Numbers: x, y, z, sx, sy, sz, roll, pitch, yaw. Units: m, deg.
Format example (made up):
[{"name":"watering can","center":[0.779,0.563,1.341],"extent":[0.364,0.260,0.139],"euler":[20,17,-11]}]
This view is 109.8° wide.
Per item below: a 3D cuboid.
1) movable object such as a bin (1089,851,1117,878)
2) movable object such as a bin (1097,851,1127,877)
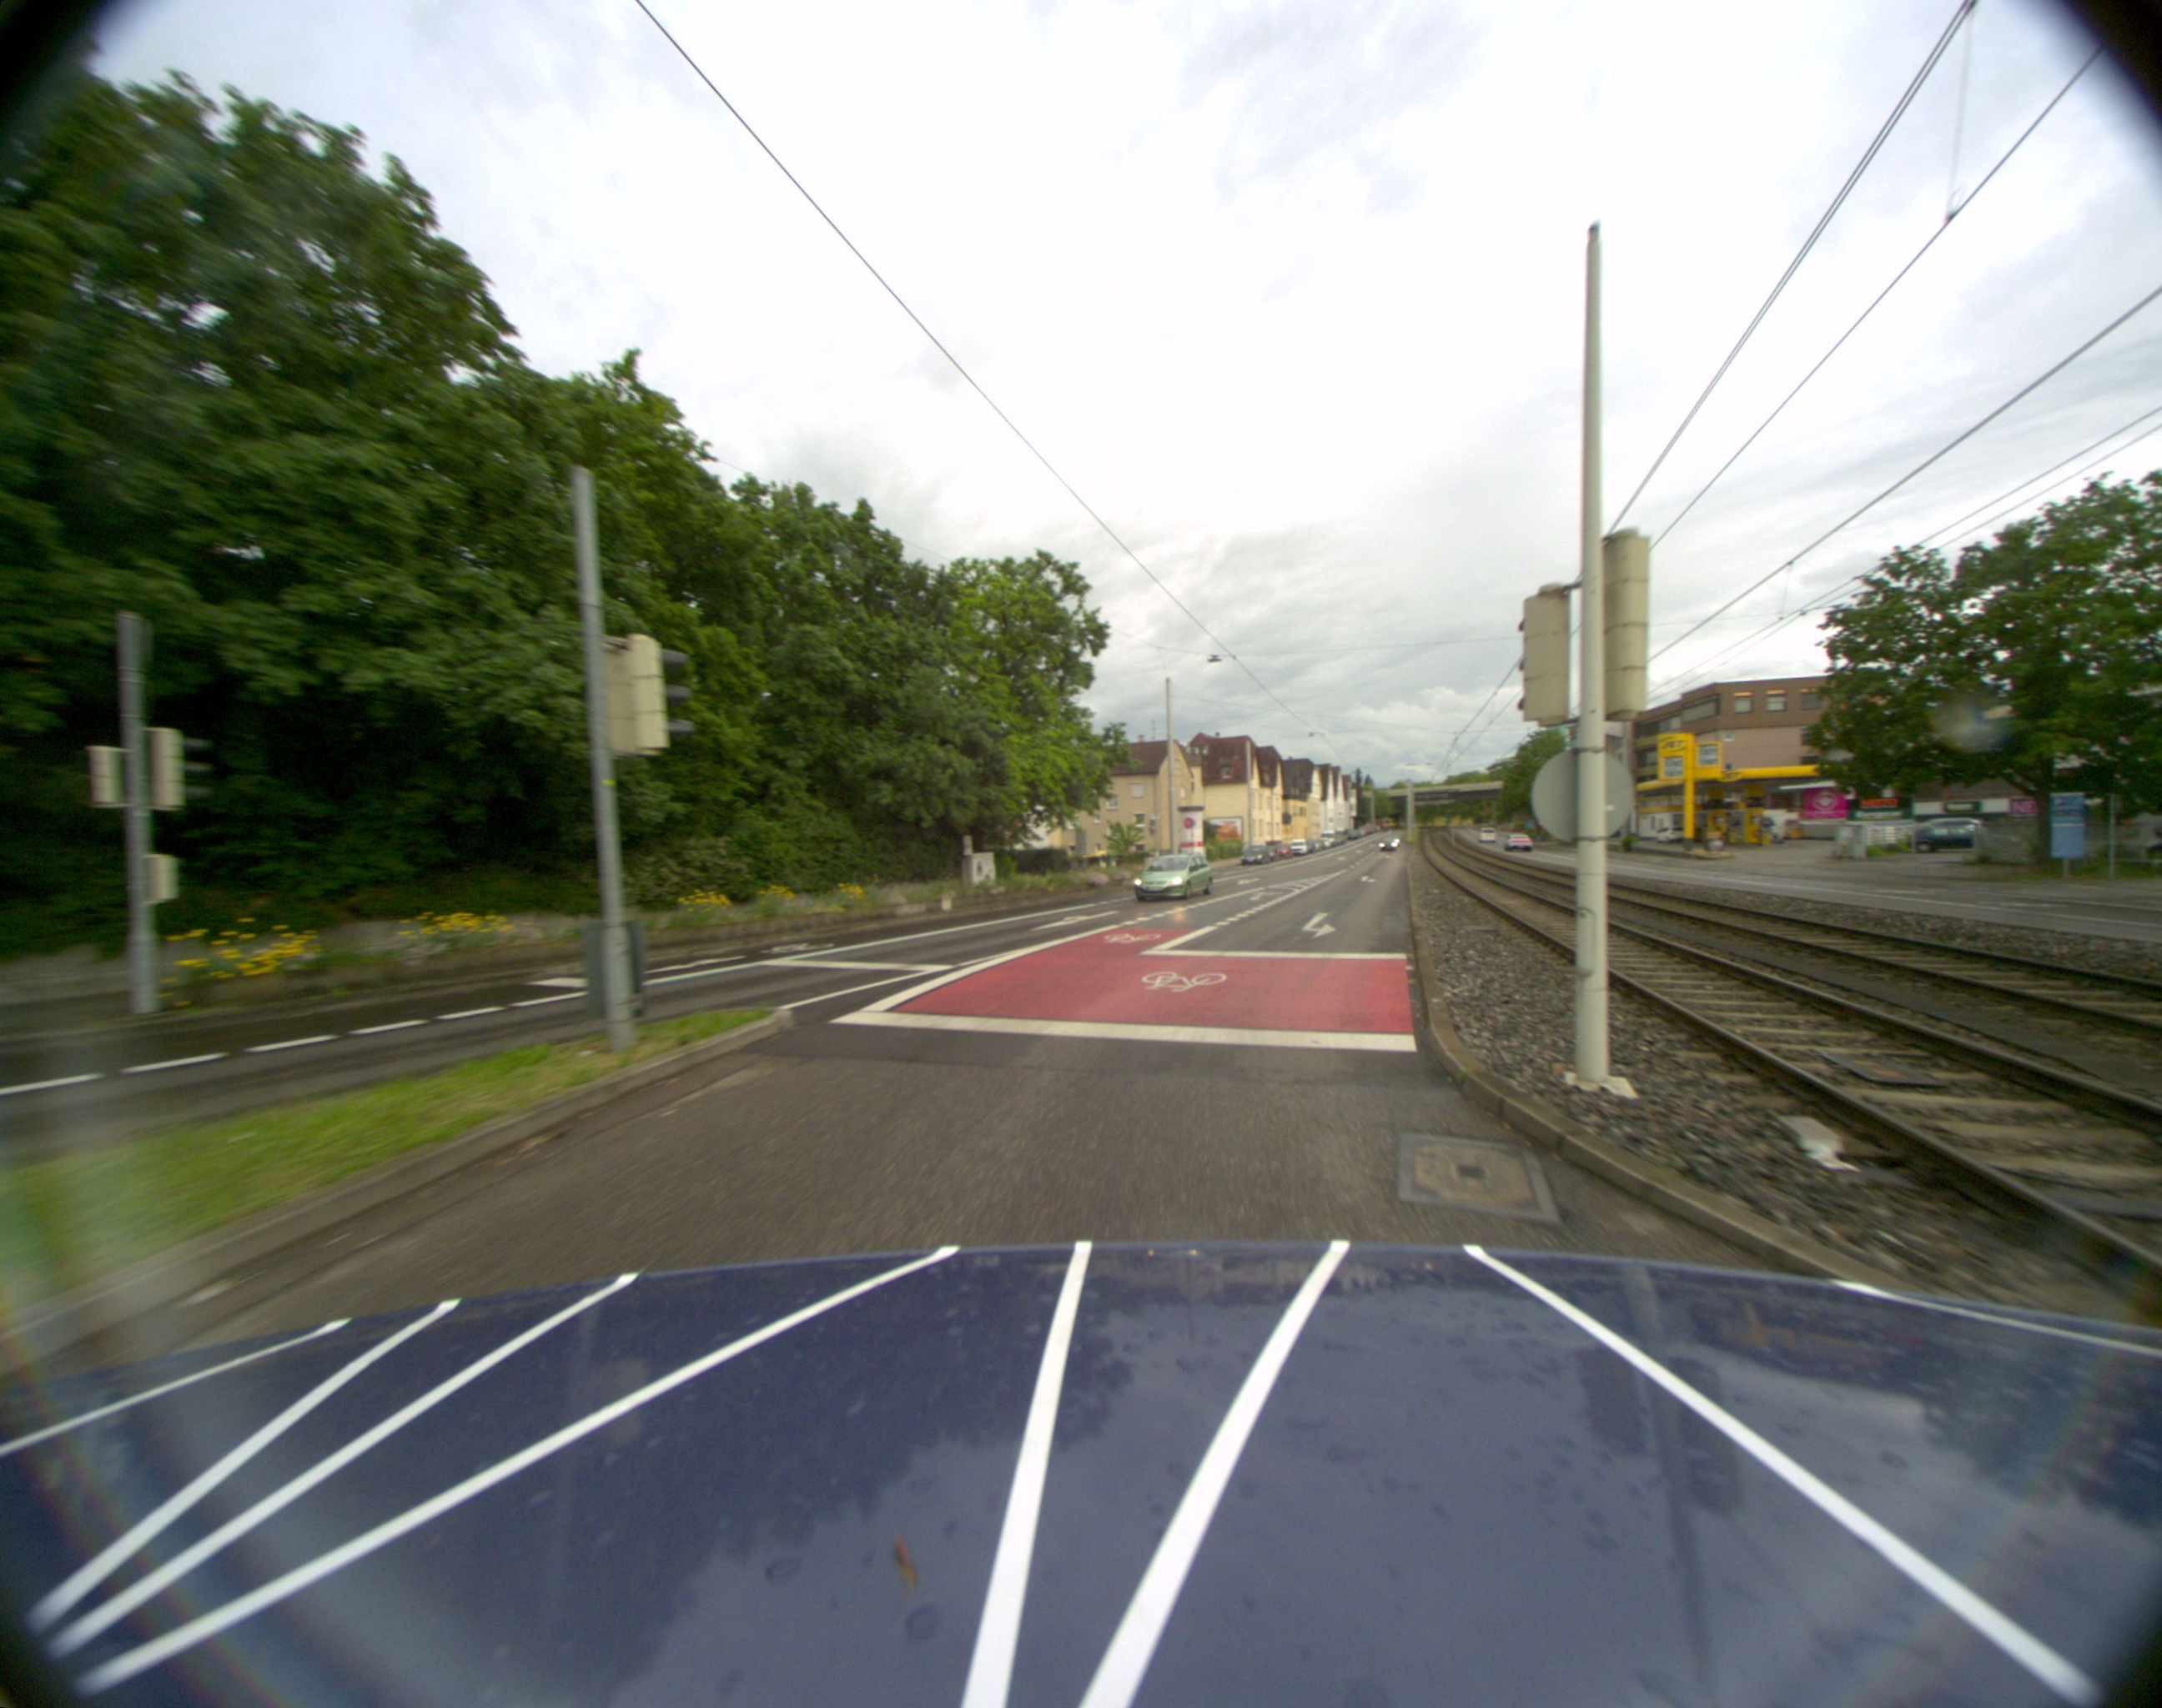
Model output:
[{"name":"movable object such as a bin","center":[1.235,0.575,42.637],"extent":[1.185,1.410,1.136],"euler":[-3,3,21]},{"name":"movable object such as a bin","center":[1.796,0.568,44.033],"extent":[1.312,1.410,1.301],"euler":[-3,2,21]}]
